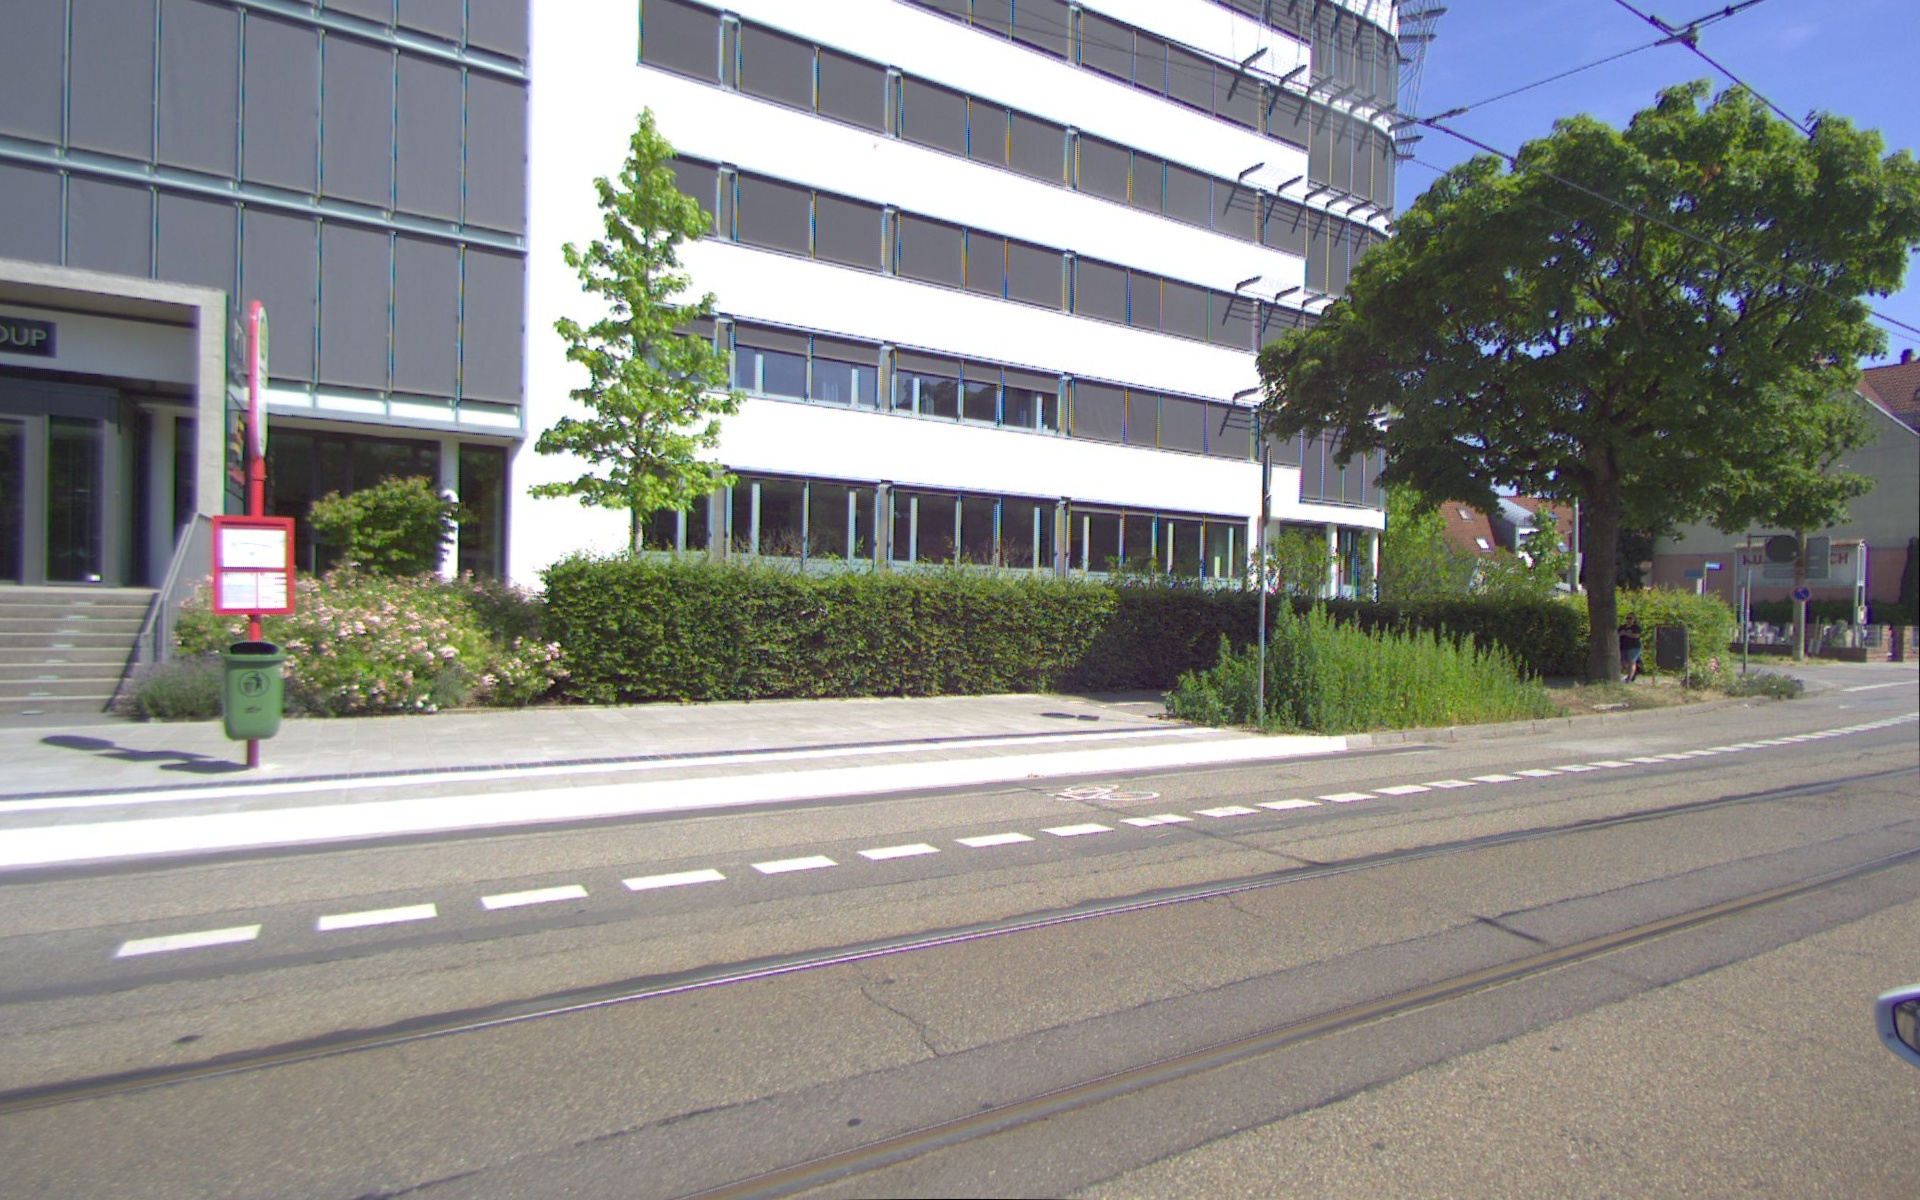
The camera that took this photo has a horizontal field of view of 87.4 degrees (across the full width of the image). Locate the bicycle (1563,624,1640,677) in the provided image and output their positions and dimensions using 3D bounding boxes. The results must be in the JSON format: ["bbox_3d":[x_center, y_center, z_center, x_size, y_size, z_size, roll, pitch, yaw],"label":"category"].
[{"bbox_3d":[14.564,1.128,22.773,2.043,1.132,0.633,1,0,-31],"label":"bicycle"}]

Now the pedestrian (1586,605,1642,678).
[{"bbox_3d":[14.712,0.920,22.585,0.978,1.584,0.681,1,2,-35],"label":"pedestrian"}]
